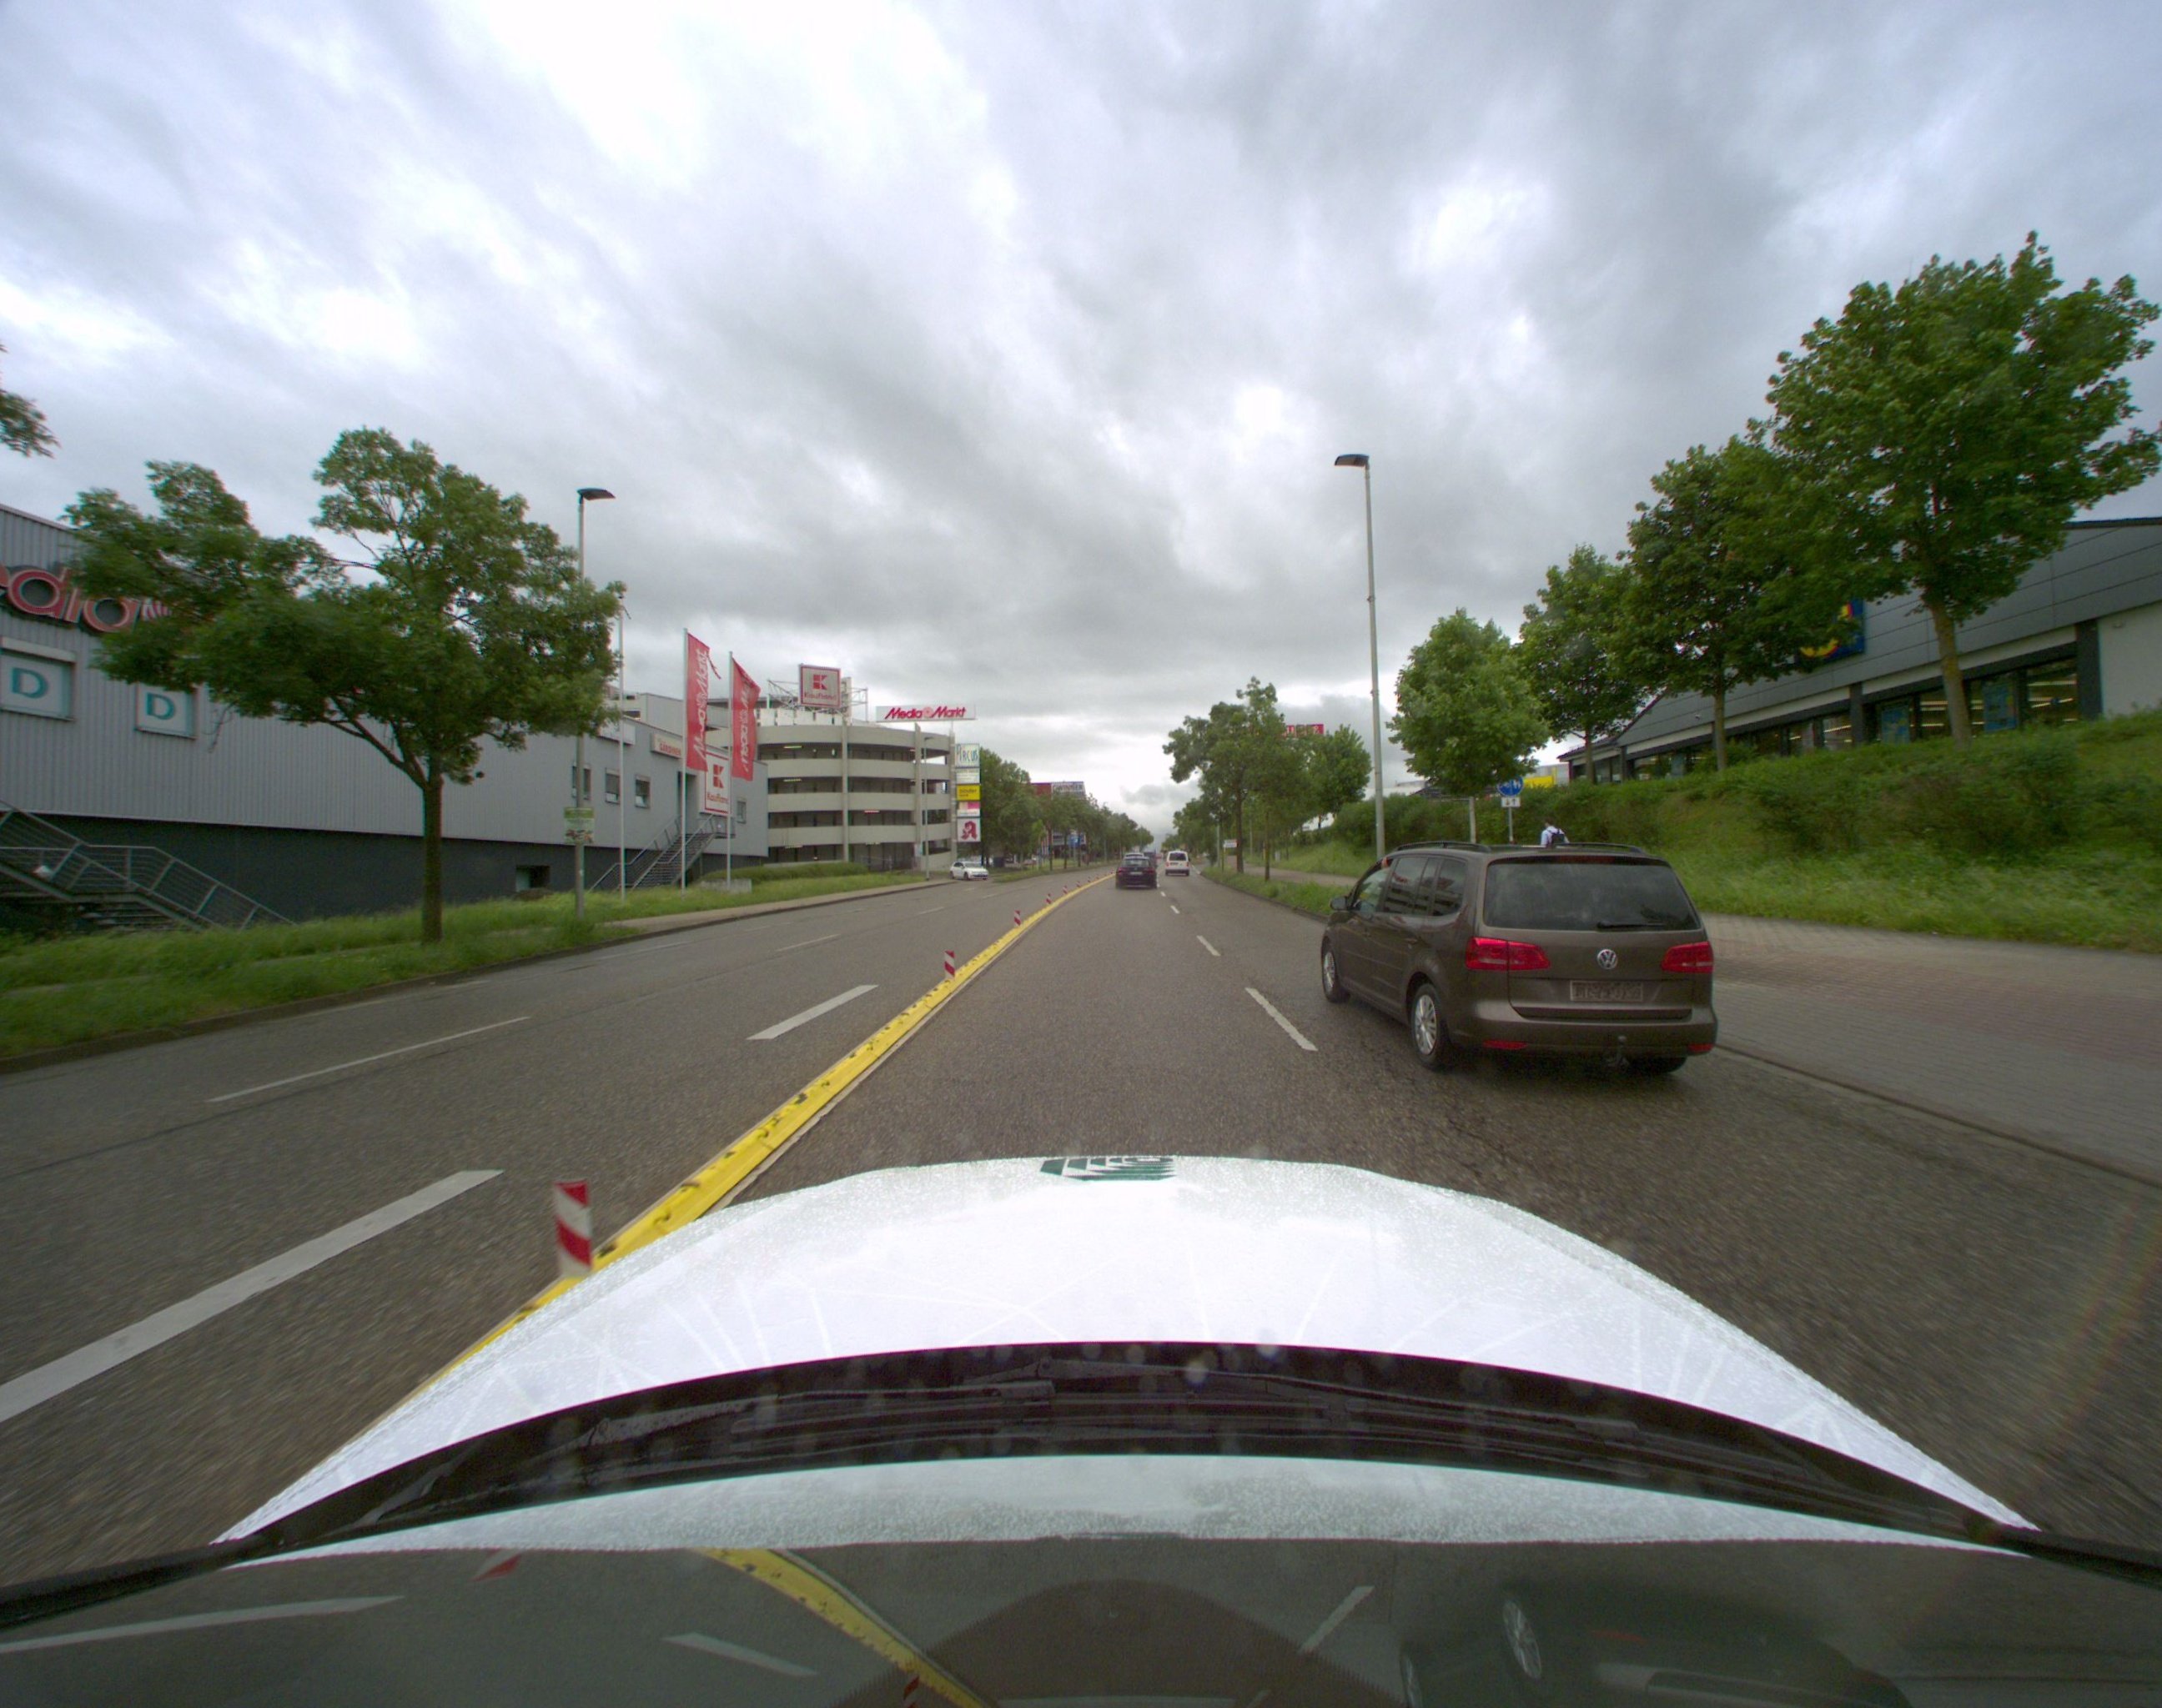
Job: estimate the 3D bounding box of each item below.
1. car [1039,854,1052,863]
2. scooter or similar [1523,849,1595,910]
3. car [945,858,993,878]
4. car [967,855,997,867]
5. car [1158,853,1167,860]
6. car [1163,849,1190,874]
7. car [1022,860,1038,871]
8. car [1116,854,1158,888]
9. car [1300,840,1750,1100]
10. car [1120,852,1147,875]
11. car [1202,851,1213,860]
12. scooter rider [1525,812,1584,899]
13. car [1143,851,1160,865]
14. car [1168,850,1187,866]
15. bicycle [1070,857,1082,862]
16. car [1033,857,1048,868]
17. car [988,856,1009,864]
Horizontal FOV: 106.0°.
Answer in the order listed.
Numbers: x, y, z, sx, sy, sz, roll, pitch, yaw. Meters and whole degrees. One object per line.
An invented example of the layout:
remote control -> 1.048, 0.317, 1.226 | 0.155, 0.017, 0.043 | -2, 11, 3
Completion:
car -> -7.152, 0.897, 163.590 | 2.128, 1.773, 4.615 | 0, 1, 5
scooter or similar -> 10.495, 0.539, 17.942 | 0.693, 1.263, 1.400 | -3, 0, 0
car -> -8.948, 1.117, 64.763 | 1.914, 1.408, 4.375 | -3, 0, -36
car -> -16.261, 1.132, 133.690 | 4.586, 1.745, 1.966 | 0, 1, -2
car -> 17.192, 0.579, 171.539 | 1.786, 1.510, 4.004 | 0, -1, 3
car -> 7.089, 0.531, 60.732 | 1.819, 1.759, 4.004 | 0, 0, 4
car -> -8.008, 1.804, 128.073 | 1.925, 1.608, 4.714 | 0, 1, 2
car -> 2.569, 0.769, 37.547 | 1.819, 1.468, 4.003 | -1, 0, 3
car -> 3.274, 0.705, 7.081 | 1.679, 1.581, 4.219 | 0, 0, 1
car -> 3.667, 0.664, 56.873 | 1.786, 1.510, 4.004 | 0, -1, 4
car -> 23.785, 0.316, 153.490 | 1.786, 1.510, 4.004 | 0, -1, 4
scooter rider -> 10.466, 0.032, 18.014 | 0.693, 1.820, 0.858 | -3, 0, -1
car -> 7.568, 0.432, 88.193 | 1.786, 1.510, 4.004 | 0, -1, 4
car -> 9.523, 0.379, 80.782 | 1.785, 1.510, 4.007 | 0, -1, 6
bicycle -> -0.986, 1.110, 161.025 | 2.063, 0.935, 1.097 | 3, 0, 11
car -> -7.145, 1.404, 142.457 | 2.030, 1.762, 4.951 | 0, 1, 4
car -> -16.330, 1.132, 161.292 | 4.097, 1.510, 1.818 | 0, 1, -2
